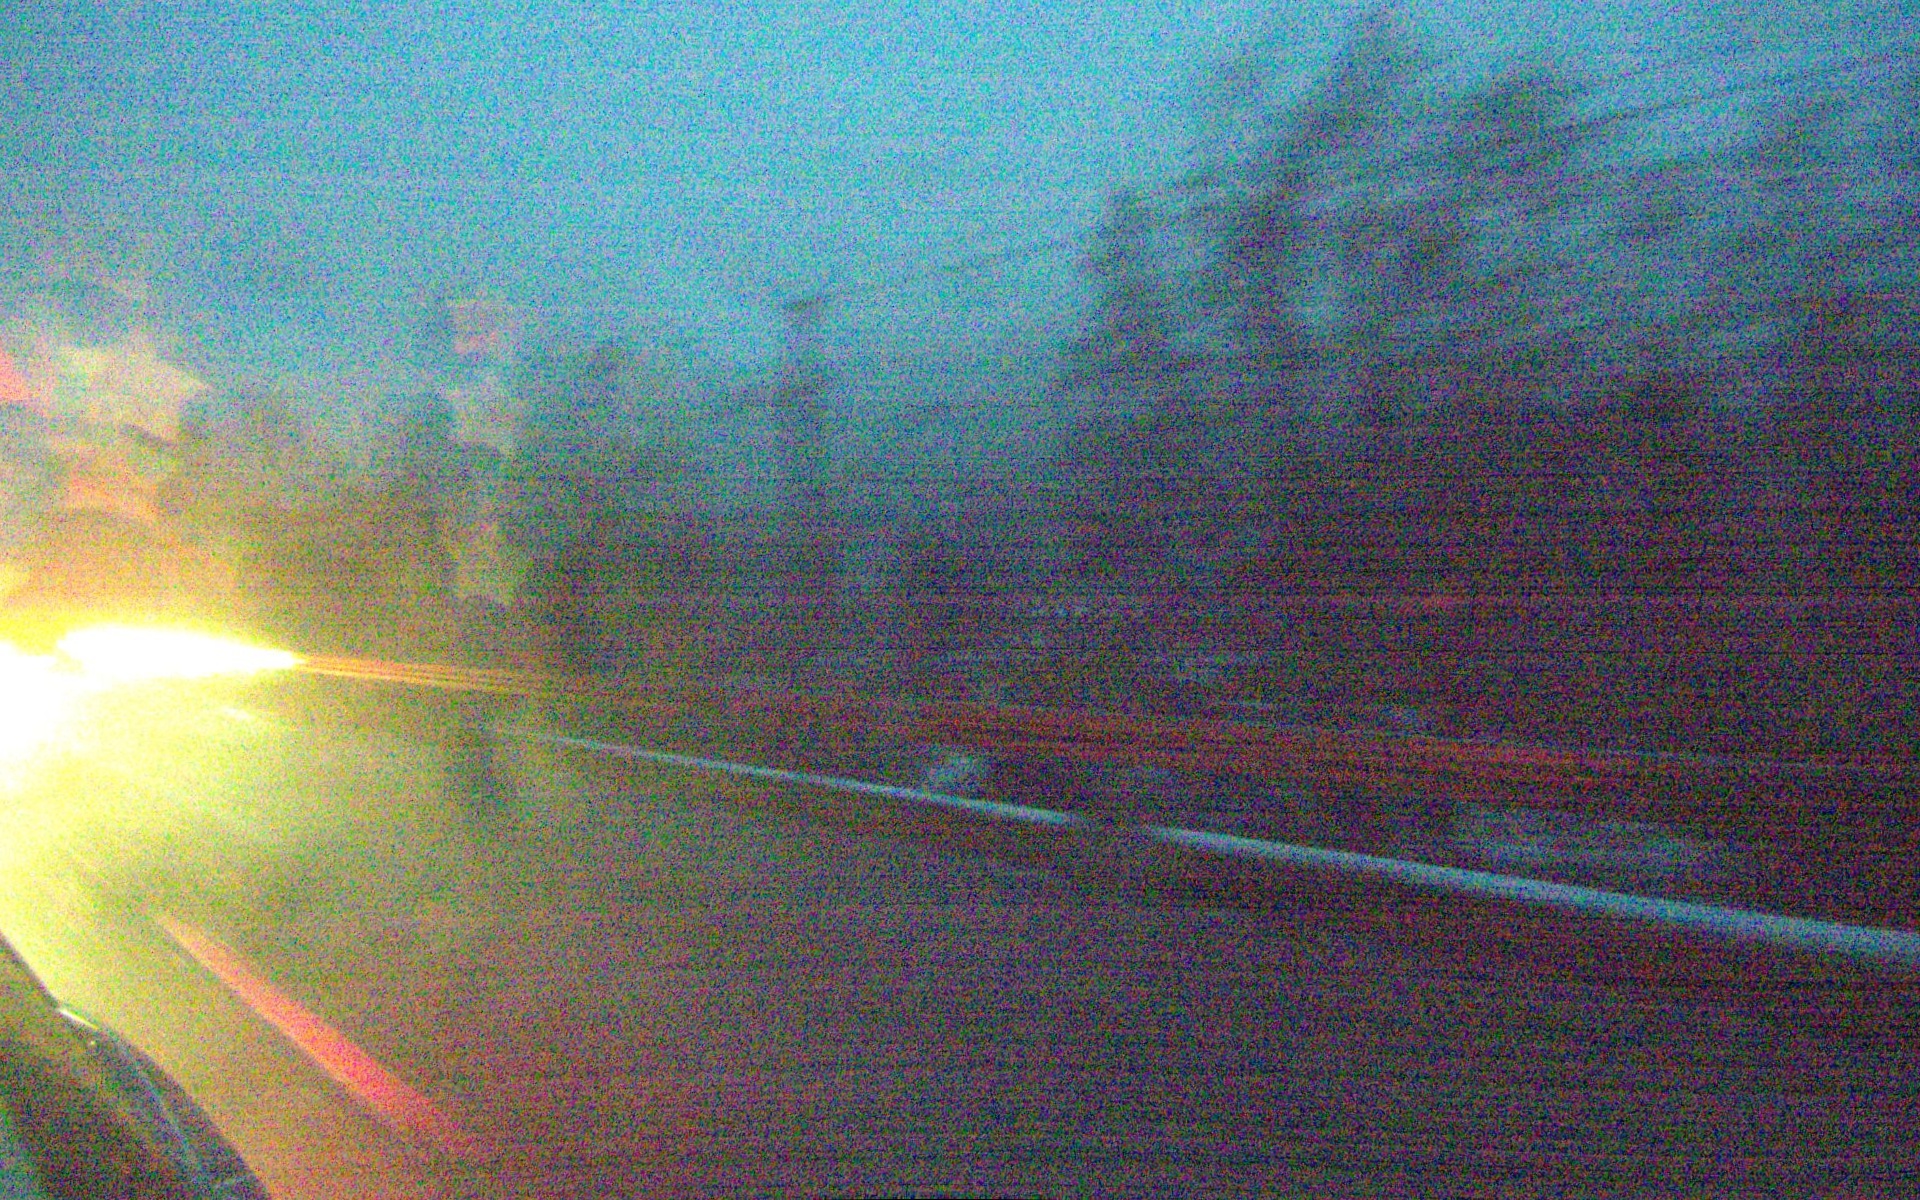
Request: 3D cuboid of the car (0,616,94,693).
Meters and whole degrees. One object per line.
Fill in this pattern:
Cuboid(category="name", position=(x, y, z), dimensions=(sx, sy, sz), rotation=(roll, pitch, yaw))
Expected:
Cuboid(category="car", position=(-20.277, 1.129, 21.792), dimensions=(4.257, 1.475, 1.897), rotation=(-1, 1, 42))
